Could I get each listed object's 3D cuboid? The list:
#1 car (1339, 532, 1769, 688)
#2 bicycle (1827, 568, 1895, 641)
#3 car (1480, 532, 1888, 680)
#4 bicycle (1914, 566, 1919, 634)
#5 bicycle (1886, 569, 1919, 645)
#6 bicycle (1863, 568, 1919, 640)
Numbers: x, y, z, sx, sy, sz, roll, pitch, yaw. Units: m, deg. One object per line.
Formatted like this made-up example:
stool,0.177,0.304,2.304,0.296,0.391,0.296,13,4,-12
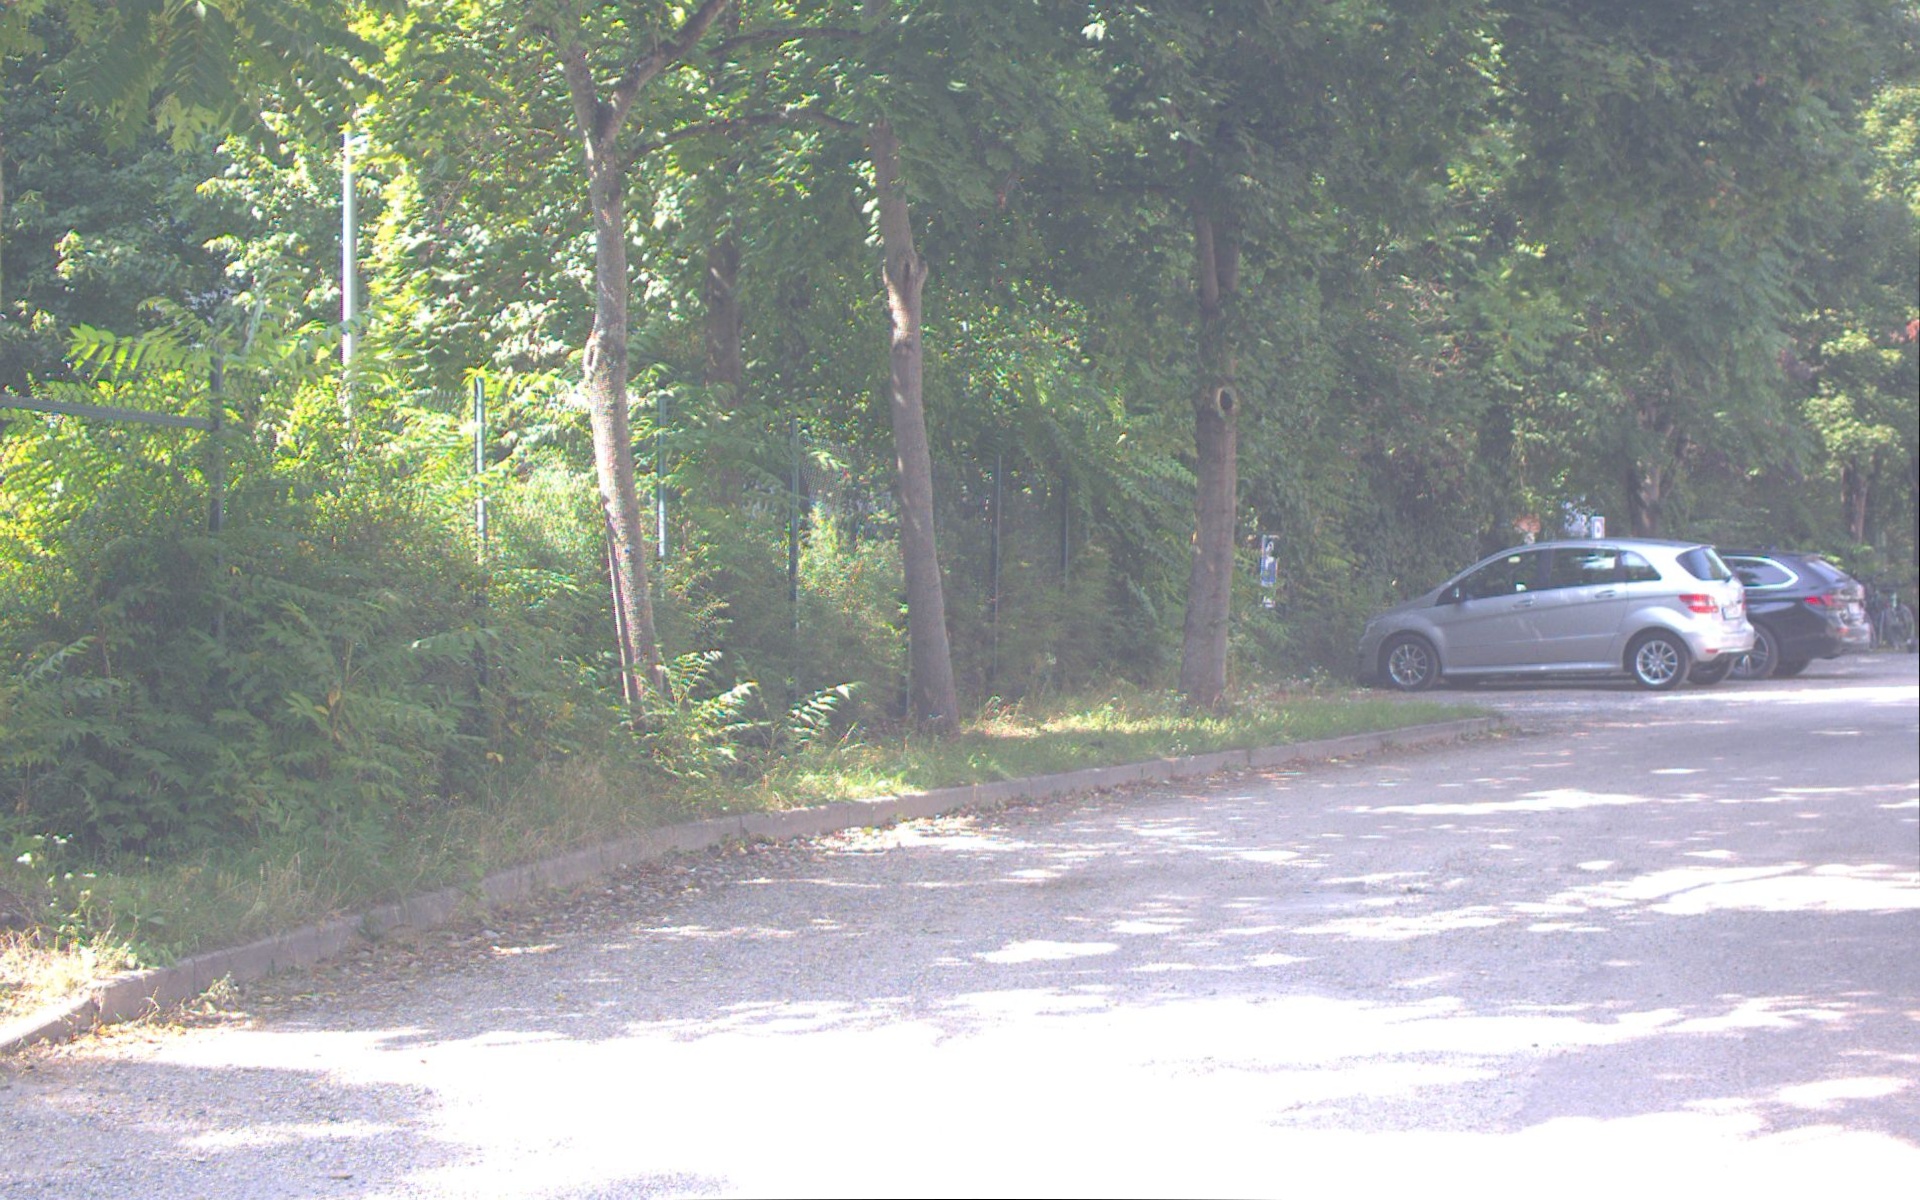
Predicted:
car,6.408,0.068,37.142,4.154,1.607,1.997,1,1,29
bicycle,14.103,0.061,53.791,0.499,1.104,1.797,0,1,32
car,8.239,0.030,39.160,4.154,1.607,1.997,1,1,29
bicycle,16.329,-0.011,56.969,0.499,1.104,1.797,0,1,32
bicycle,14.419,0.094,51.599,0.499,1.104,1.797,0,1,32
bicycle,14.589,0.052,53.550,0.499,1.104,1.797,0,1,32
